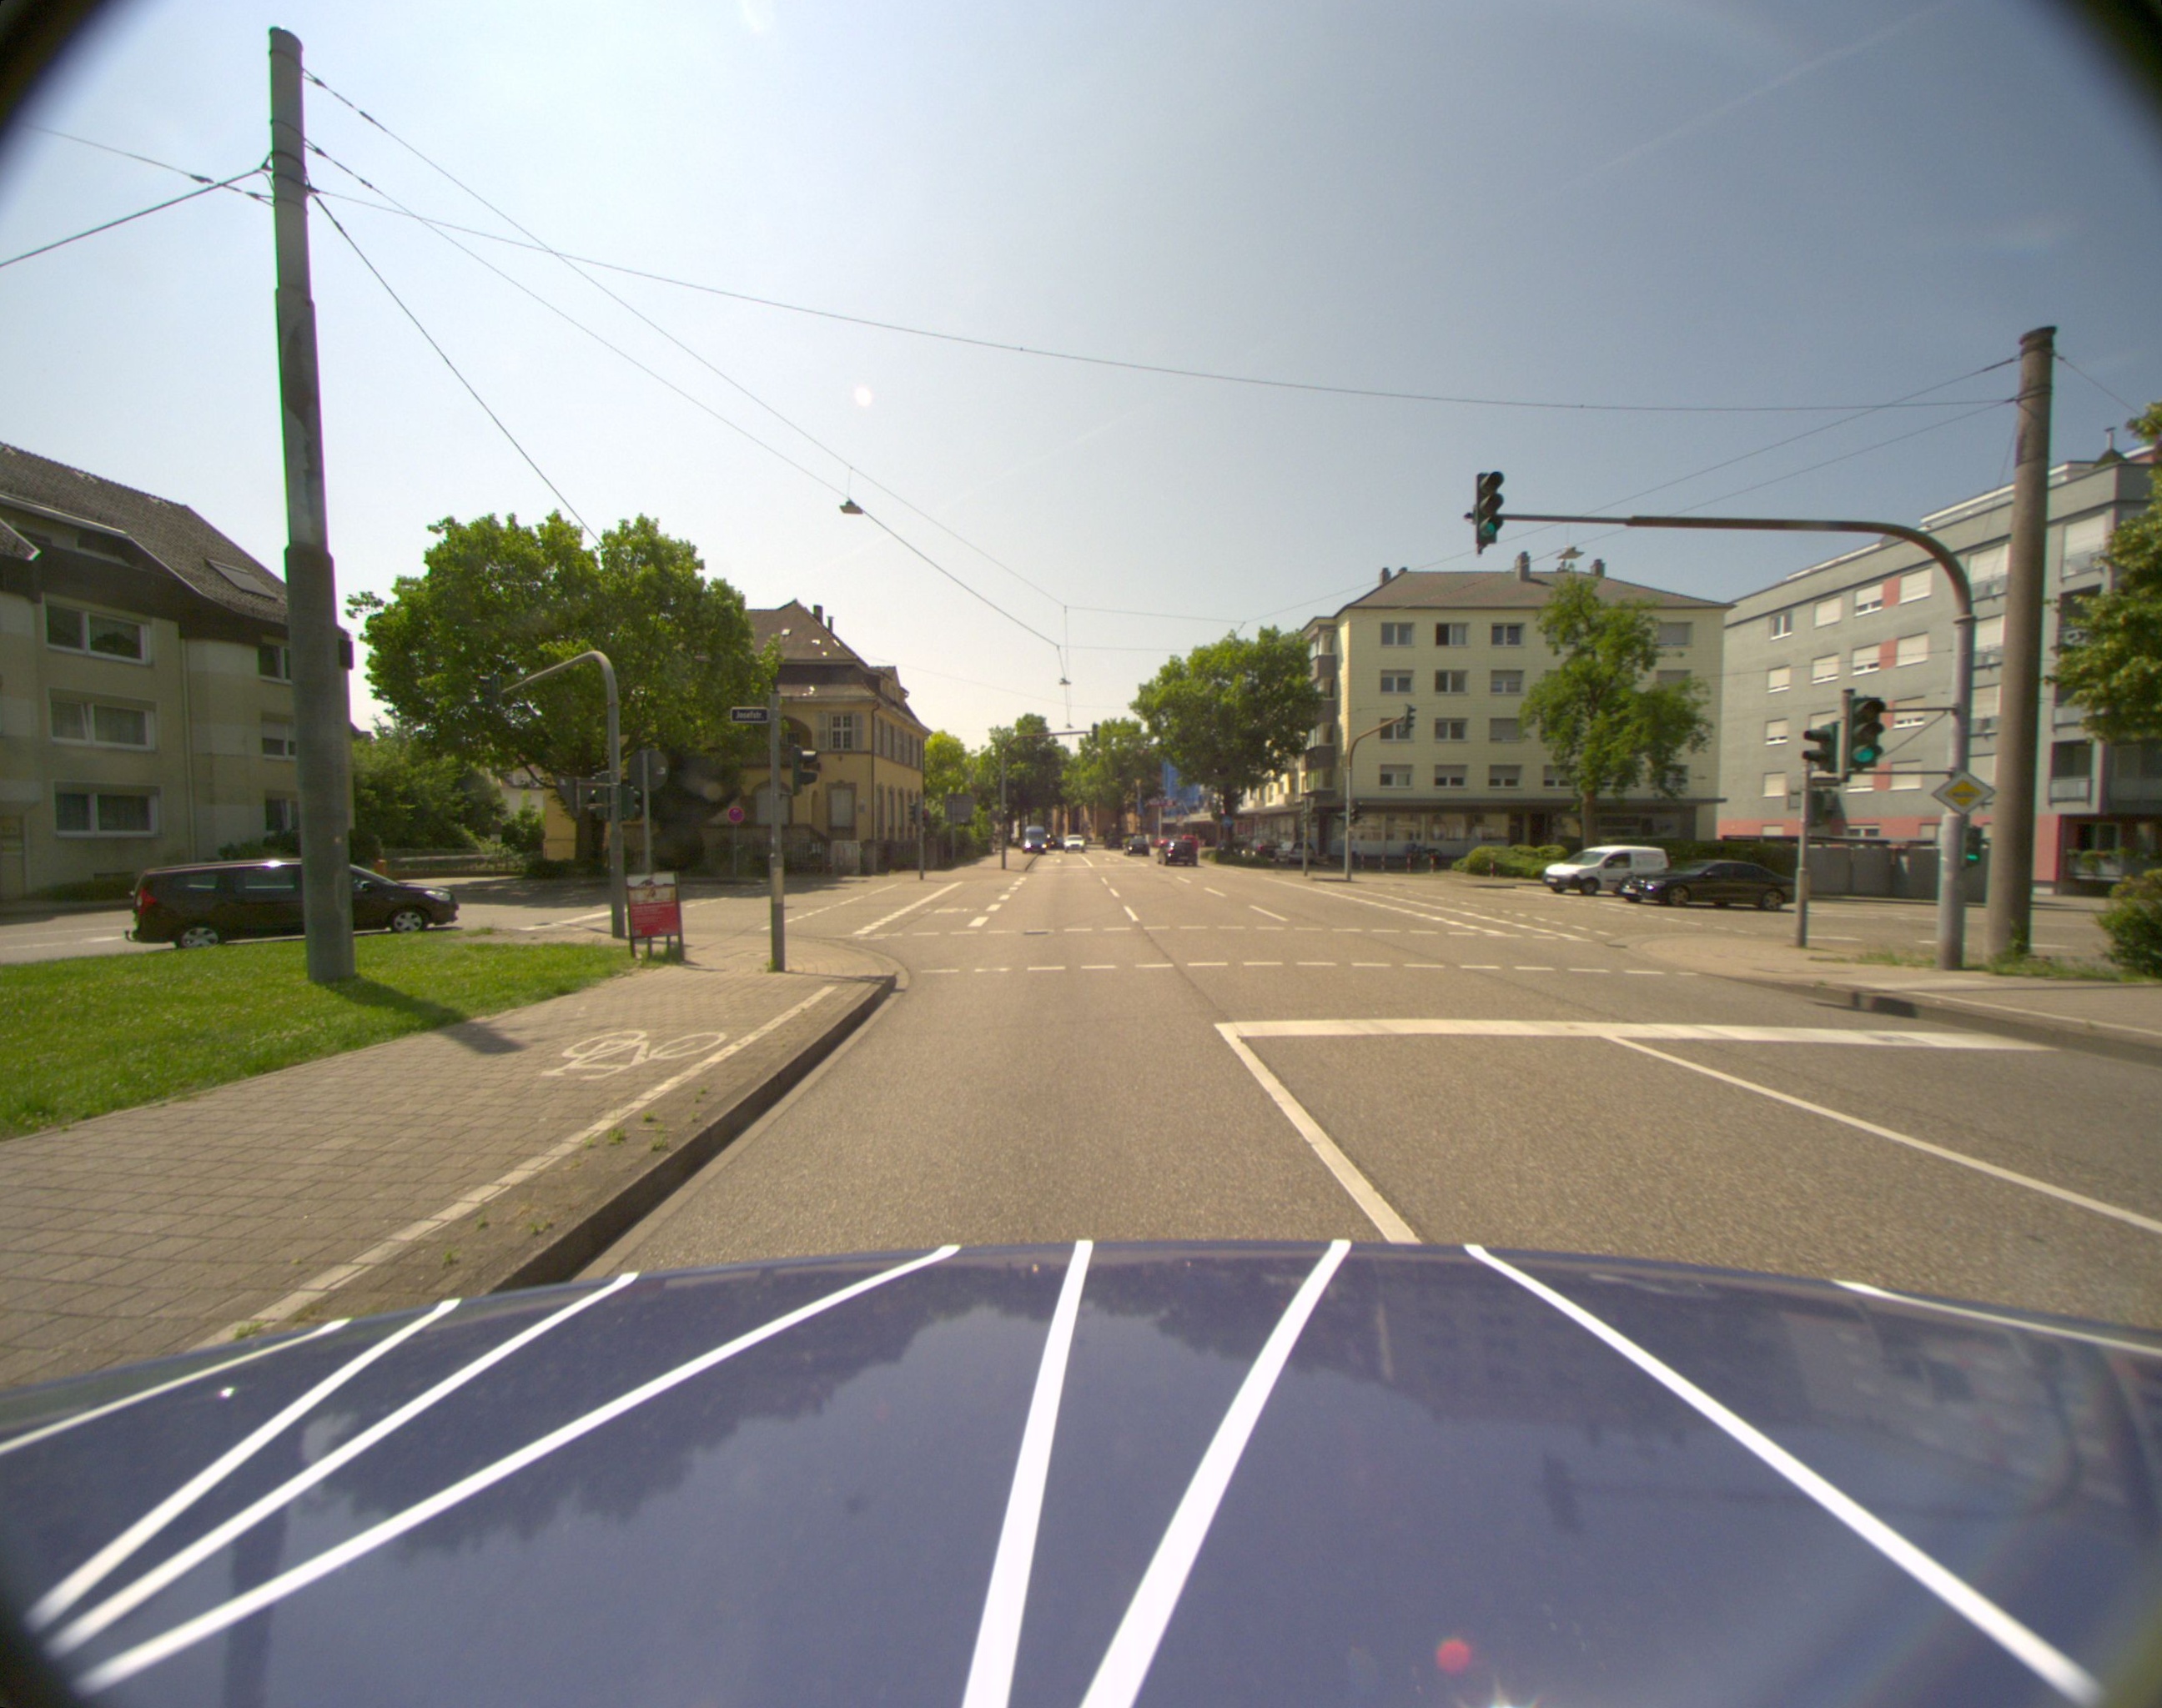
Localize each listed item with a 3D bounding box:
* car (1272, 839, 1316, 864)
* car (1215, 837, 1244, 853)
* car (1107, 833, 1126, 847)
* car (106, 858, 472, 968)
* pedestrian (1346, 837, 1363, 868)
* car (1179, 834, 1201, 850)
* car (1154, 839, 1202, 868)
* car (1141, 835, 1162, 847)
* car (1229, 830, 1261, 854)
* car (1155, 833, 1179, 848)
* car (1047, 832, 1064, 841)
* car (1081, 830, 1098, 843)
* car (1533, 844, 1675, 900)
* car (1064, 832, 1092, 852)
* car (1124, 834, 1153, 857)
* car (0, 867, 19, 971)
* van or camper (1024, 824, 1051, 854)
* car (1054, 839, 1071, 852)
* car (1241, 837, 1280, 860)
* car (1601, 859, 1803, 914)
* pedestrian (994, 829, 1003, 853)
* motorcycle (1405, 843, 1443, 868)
[{"bbox_3d":[13.454,-0.165,48.202,1.586,1.450,3.937,0,2,-1],"label":"car"},{"bbox_3d":[13.145,-0.826,67.530,1.704,1.280,3.859,-1,2,-2],"label":"car"},{"bbox_3d":[3.686,-1.467,79.914,1.620,1.447,3.708,0,1,-3],"label":"car"},{"bbox_3d":[-15.527,1.029,15.369,4.827,1.623,1.912,-3,4,-43],"label":"car"},{"bbox_3d":[15.598,-0.087,43.338,0.628,1.750,0.742,0,3,-1],"label":"pedestrian"},{"bbox_3d":[10.573,-1.190,73.938,1.639,1.460,3.632,0,2,-1],"label":"car"},{"bbox_3d":[5.293,-0.071,41.892,1.842,1.391,4.047,2,2,-4],"label":"car"},{"bbox_3d":[8.811,-1.639,95.018,1.913,1.511,4.331,0,2,-4],"label":"car"},{"bbox_3d":[13.367,-1.004,62.015,1.643,1.829,3.858,-1,2,-2],"label":"car"},{"bbox_3d":[9.560,-1.523,84.712,1.913,1.511,4.331,0,2,-4],"label":"car"},{"bbox_3d":[-4.028,-2.828,120.973,1.811,1.441,3.845,-2,2,-16],"label":"car"},{"bbox_3d":[1.102,-2.389,102.336,1.821,1.510,4.625,0,3,-6],"label":"car"},{"bbox_3d":[18.579,0.616,27.105,3.696,1.726,1.893,2,2,-3],"label":"car"},{"bbox_3d":[-0.285,-1.171,72.252,2.000,1.740,4.440,-2,2,-8],"label":"car"},{"bbox_3d":[4.552,-0.712,60.508,1.760,1.552,4.314,2,3,-3],"label":"car"},{"bbox_3d":[-19.871,1.170,11.105,1.994,1.692,4.776,2,3,29],"label":"car"},{"bbox_3d":[-4.001,-1.455,68.917,2.165,2.568,5.839,-1,3,-6],"label":"van or camper"},{"bbox_3d":[-2.204,-0.967,89.473,1.736,1.397,4.330,-1,2,-5],"label":"car"},{"bbox_3d":[13.207,-0.468,56.078,1.626,1.560,4.837,0,2,-1],"label":"car"},{"bbox_3d":[19.240,0.985,23.686,4.618,1.393,2.115,2,2,-5],"label":"car"},{"bbox_3d":[-6.541,-1.028,60.251,0.621,1.908,0.743,0,3,-2],"label":"pedestrian"},{"bbox_3d":[20.446,0.072,45.254,1.919,1.413,0.714,-1,4,0],"label":"motorcycle"}]
